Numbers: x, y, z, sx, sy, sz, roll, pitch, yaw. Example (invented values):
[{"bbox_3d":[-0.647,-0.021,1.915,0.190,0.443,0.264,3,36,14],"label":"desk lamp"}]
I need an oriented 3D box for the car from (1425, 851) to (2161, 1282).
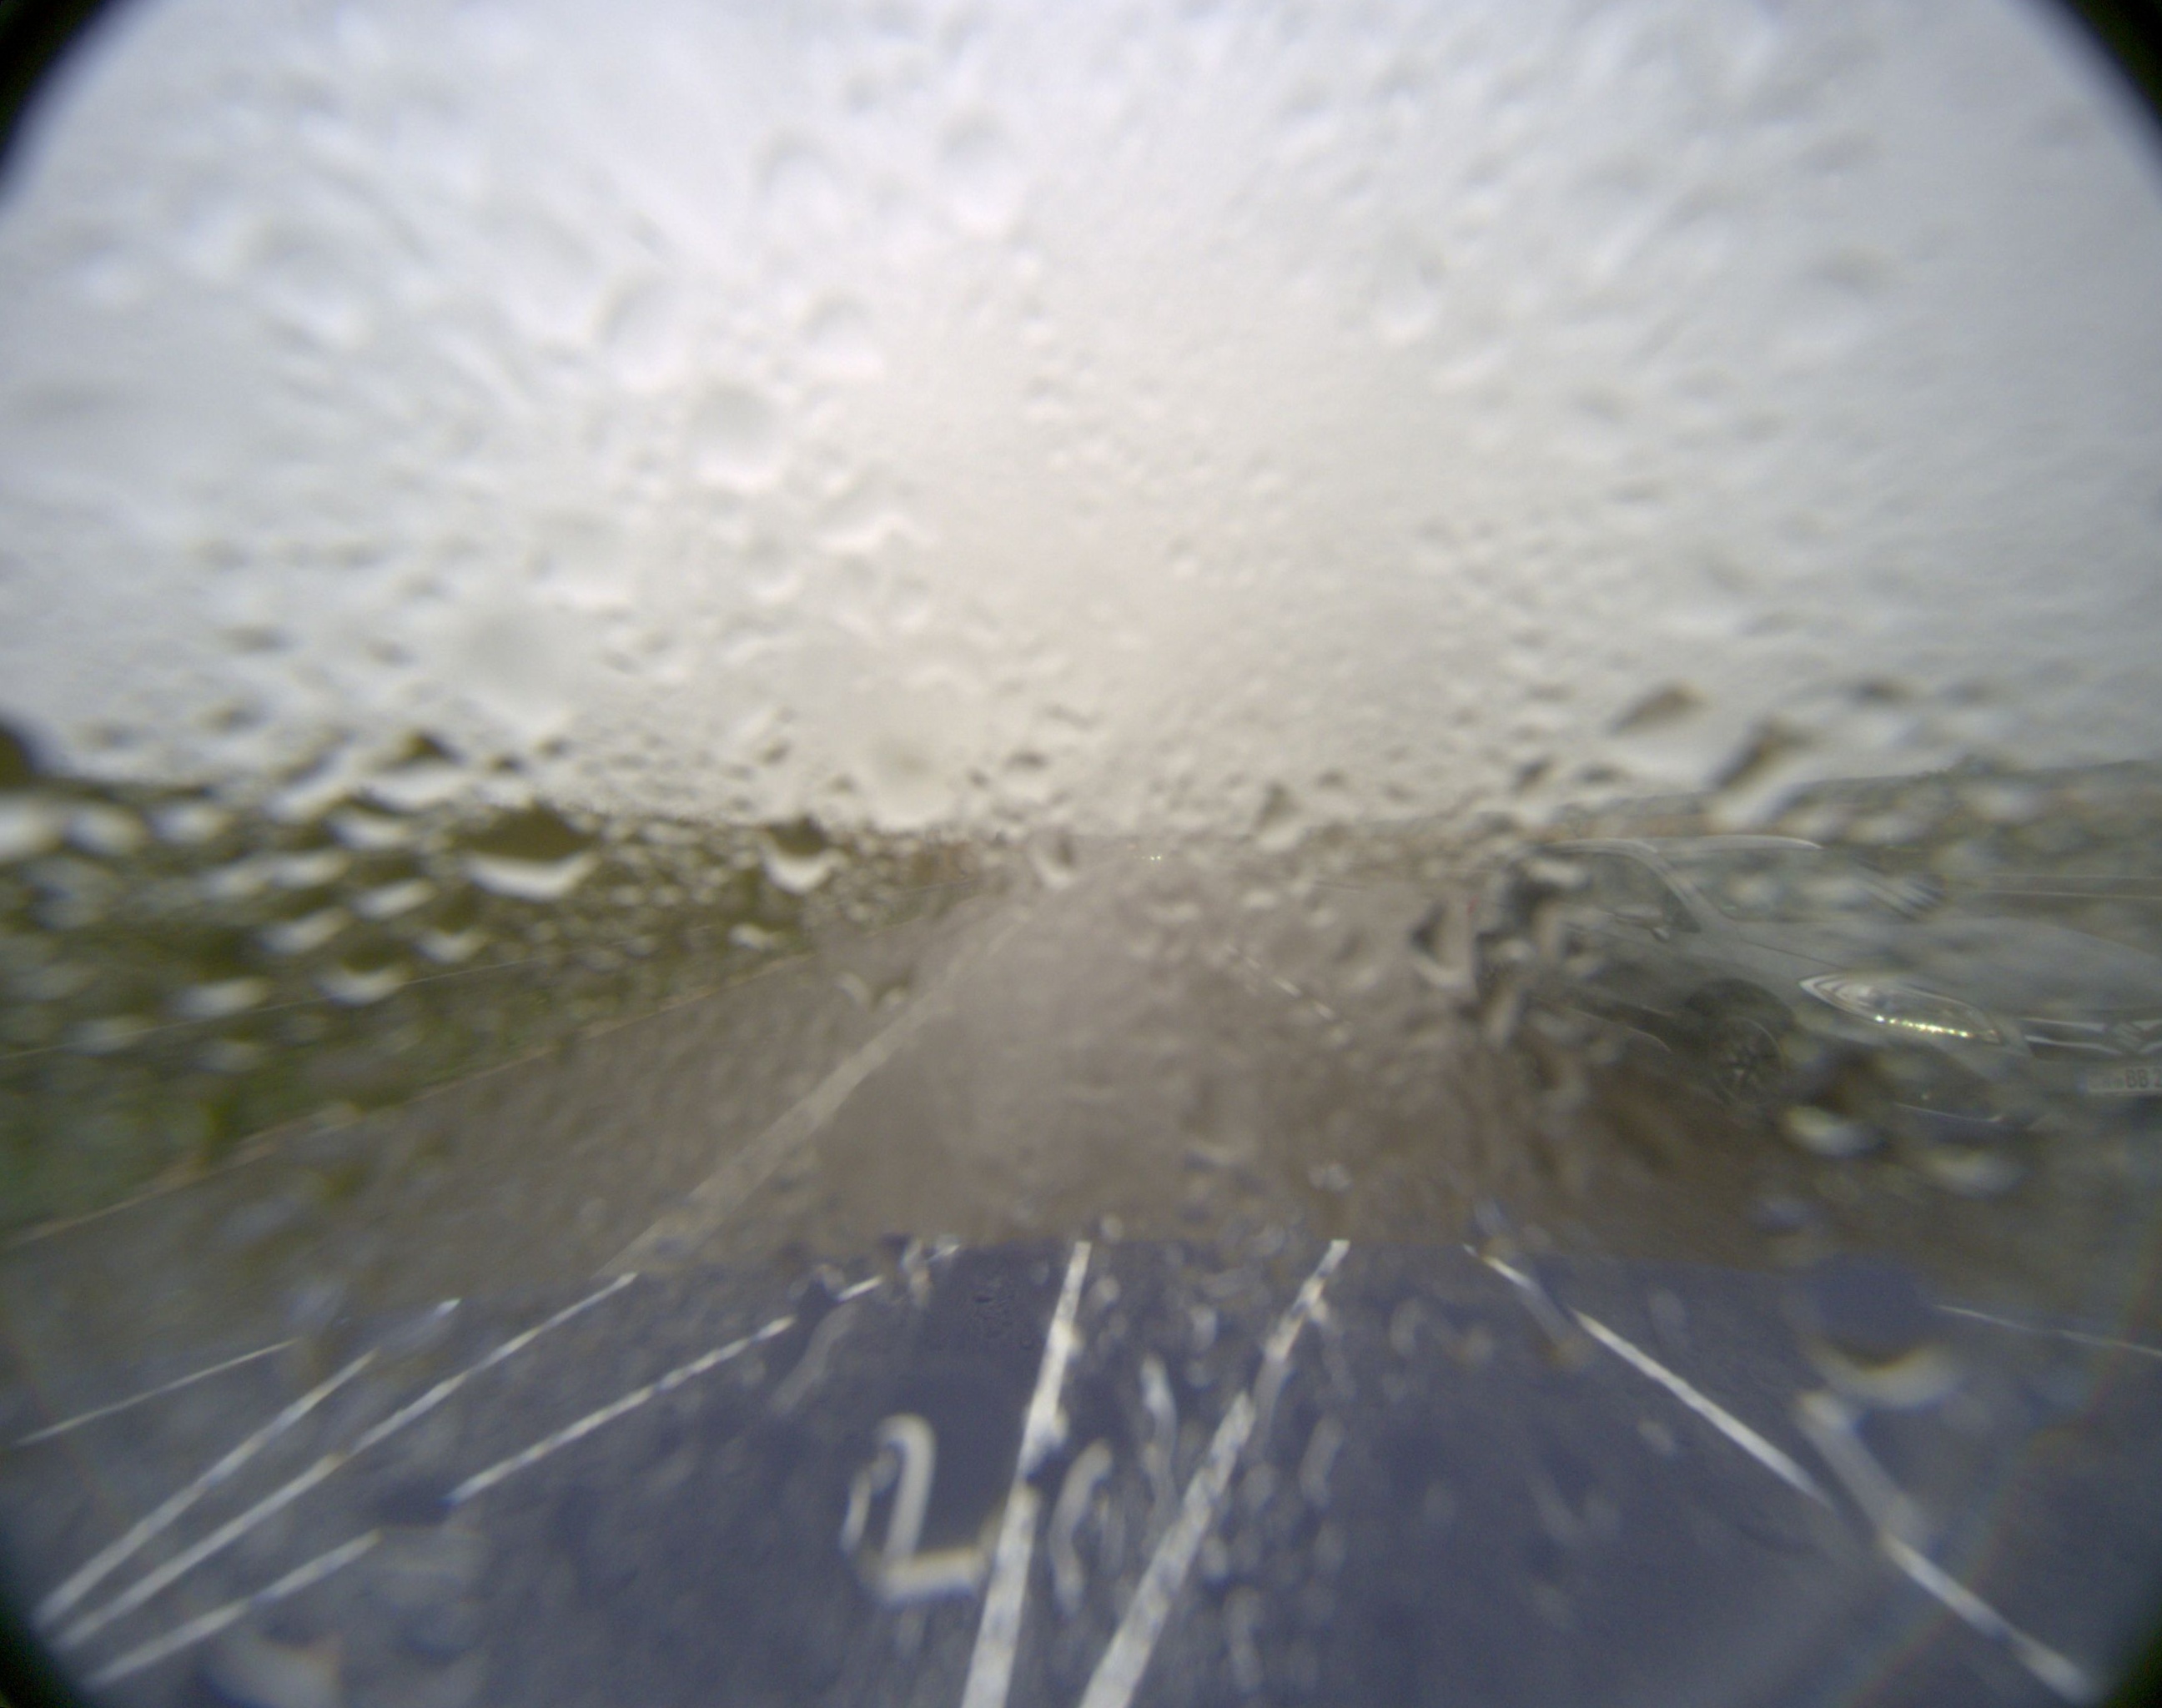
[{"bbox_3d":[4.360,0.776,5.172,1.851,1.504,4.756,-2,0,0],"label":"car"}]

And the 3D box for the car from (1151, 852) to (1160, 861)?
[{"bbox_3d":[15.160,0.504,155.578,1.700,1.543,3.734,-2,1,4],"label":"car"}]

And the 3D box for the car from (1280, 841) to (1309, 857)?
[{"bbox_3d":[22.112,-0.503,78.976,1.998,1.543,4.000,-2,0,2],"label":"car"}]
